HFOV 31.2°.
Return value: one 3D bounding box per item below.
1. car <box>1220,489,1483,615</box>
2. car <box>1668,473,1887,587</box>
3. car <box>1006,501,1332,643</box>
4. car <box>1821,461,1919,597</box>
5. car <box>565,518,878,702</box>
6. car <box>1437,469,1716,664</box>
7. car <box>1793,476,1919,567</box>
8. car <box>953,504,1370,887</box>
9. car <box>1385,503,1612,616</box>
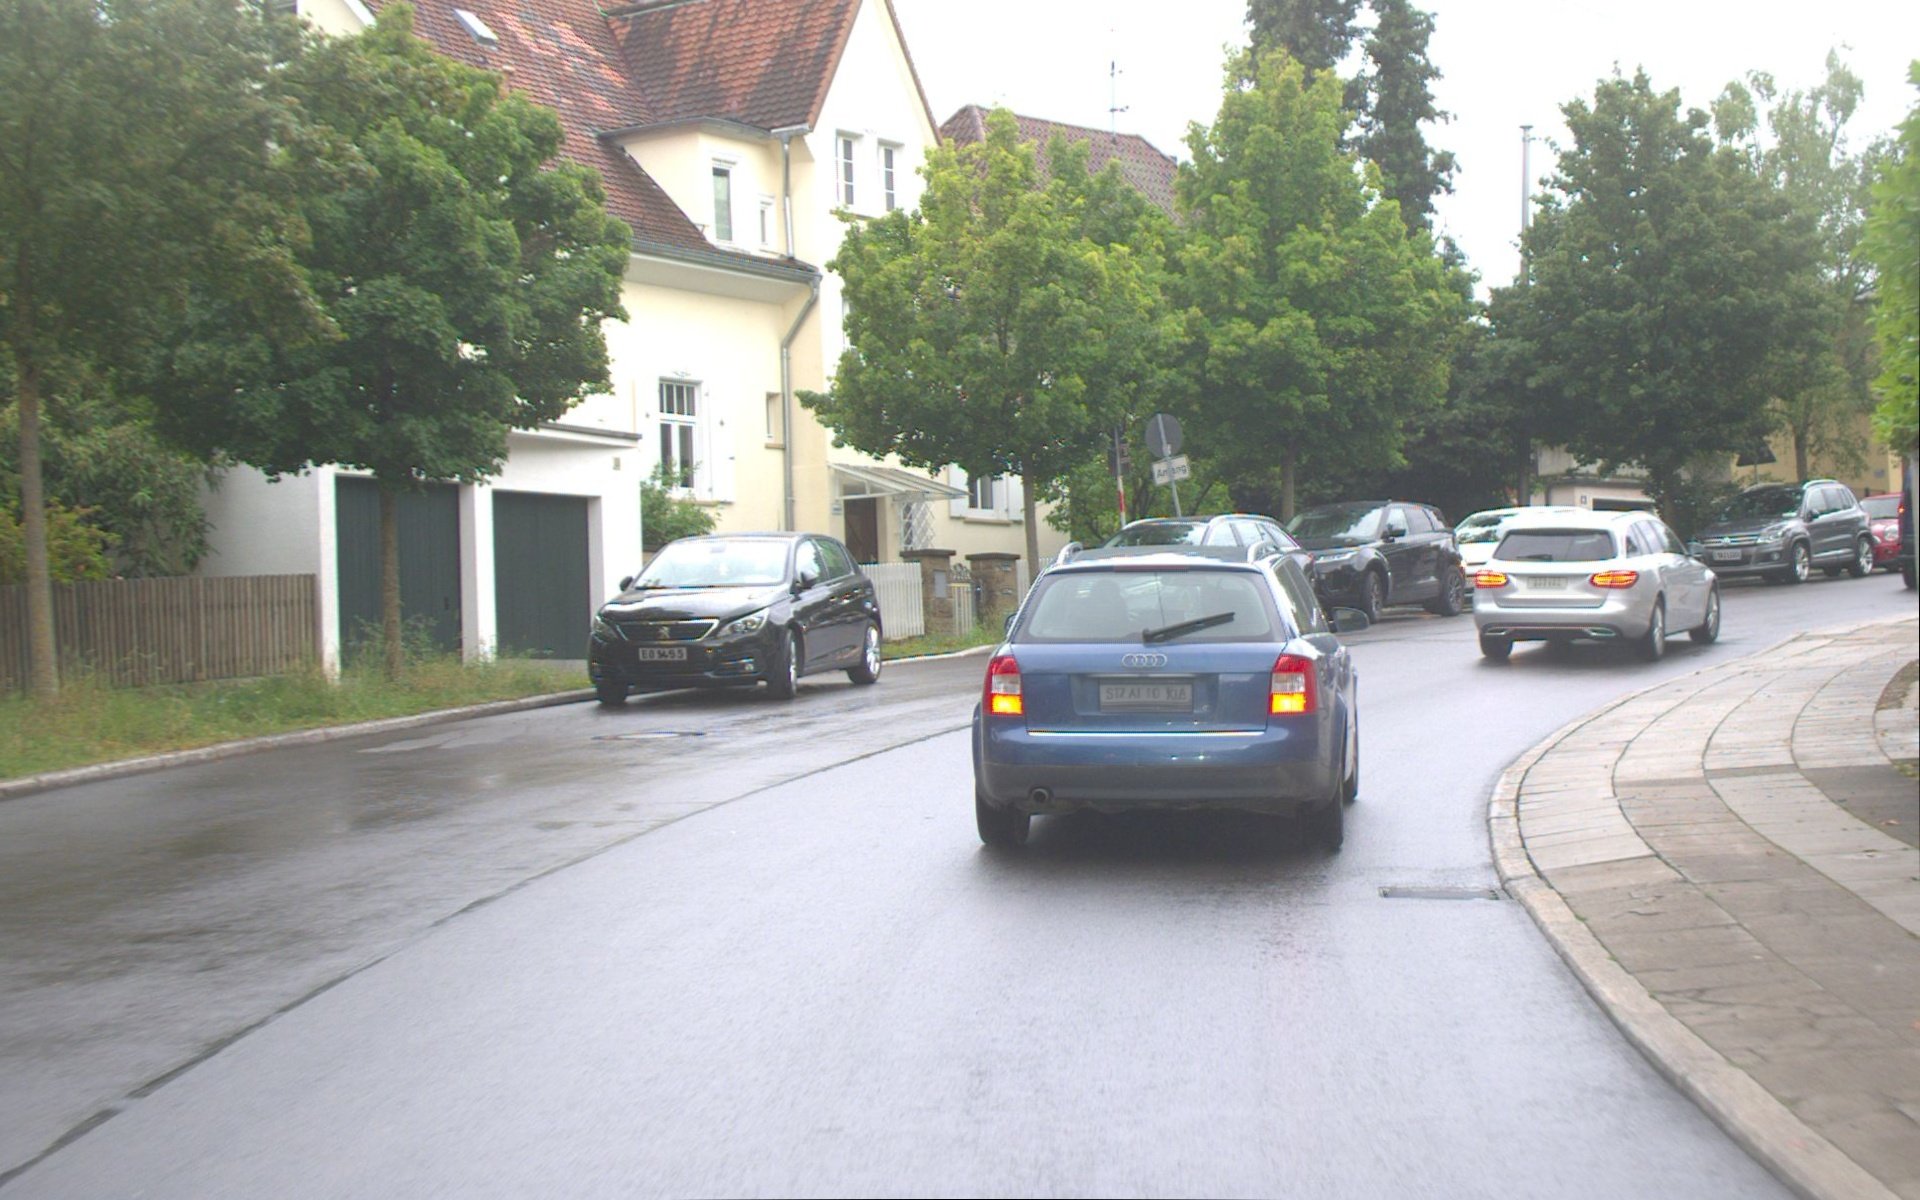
[{"bbox_3d":[5.264,-0.665,45.814,1.736,1.540,4.202,-1,1,33],"label":"car"},{"bbox_3d":[13.636,-1.182,57.190,1.804,1.663,4.417,-4,0,38],"label":"car"},{"bbox_3d":[2.610,-0.376,41.580,1.870,1.540,4.897,-1,1,30],"label":"car"},{"bbox_3d":[14.246,-1.112,51.084,1.736,1.762,4.229,-2,4,29],"label":"car"},{"bbox_3d":[-2.065,0.048,30.901,1.671,1.461,3.893,-3,1,13],"label":"car"},{"bbox_3d":[6.391,-0.388,35.243,1.977,1.629,4.231,-2,4,21],"label":"car"},{"bbox_3d":[16.577,-1.435,61.414,1.686,1.467,3.857,-4,0,40],"label":"car"},{"bbox_3d":[1.125,0.376,17.216,1.734,1.461,4.000,-3,3,8],"label":"car"},{"bbox_3d":[7.877,-0.609,50.001,1.736,1.461,3.993,-1,2,33],"label":"car"}]
